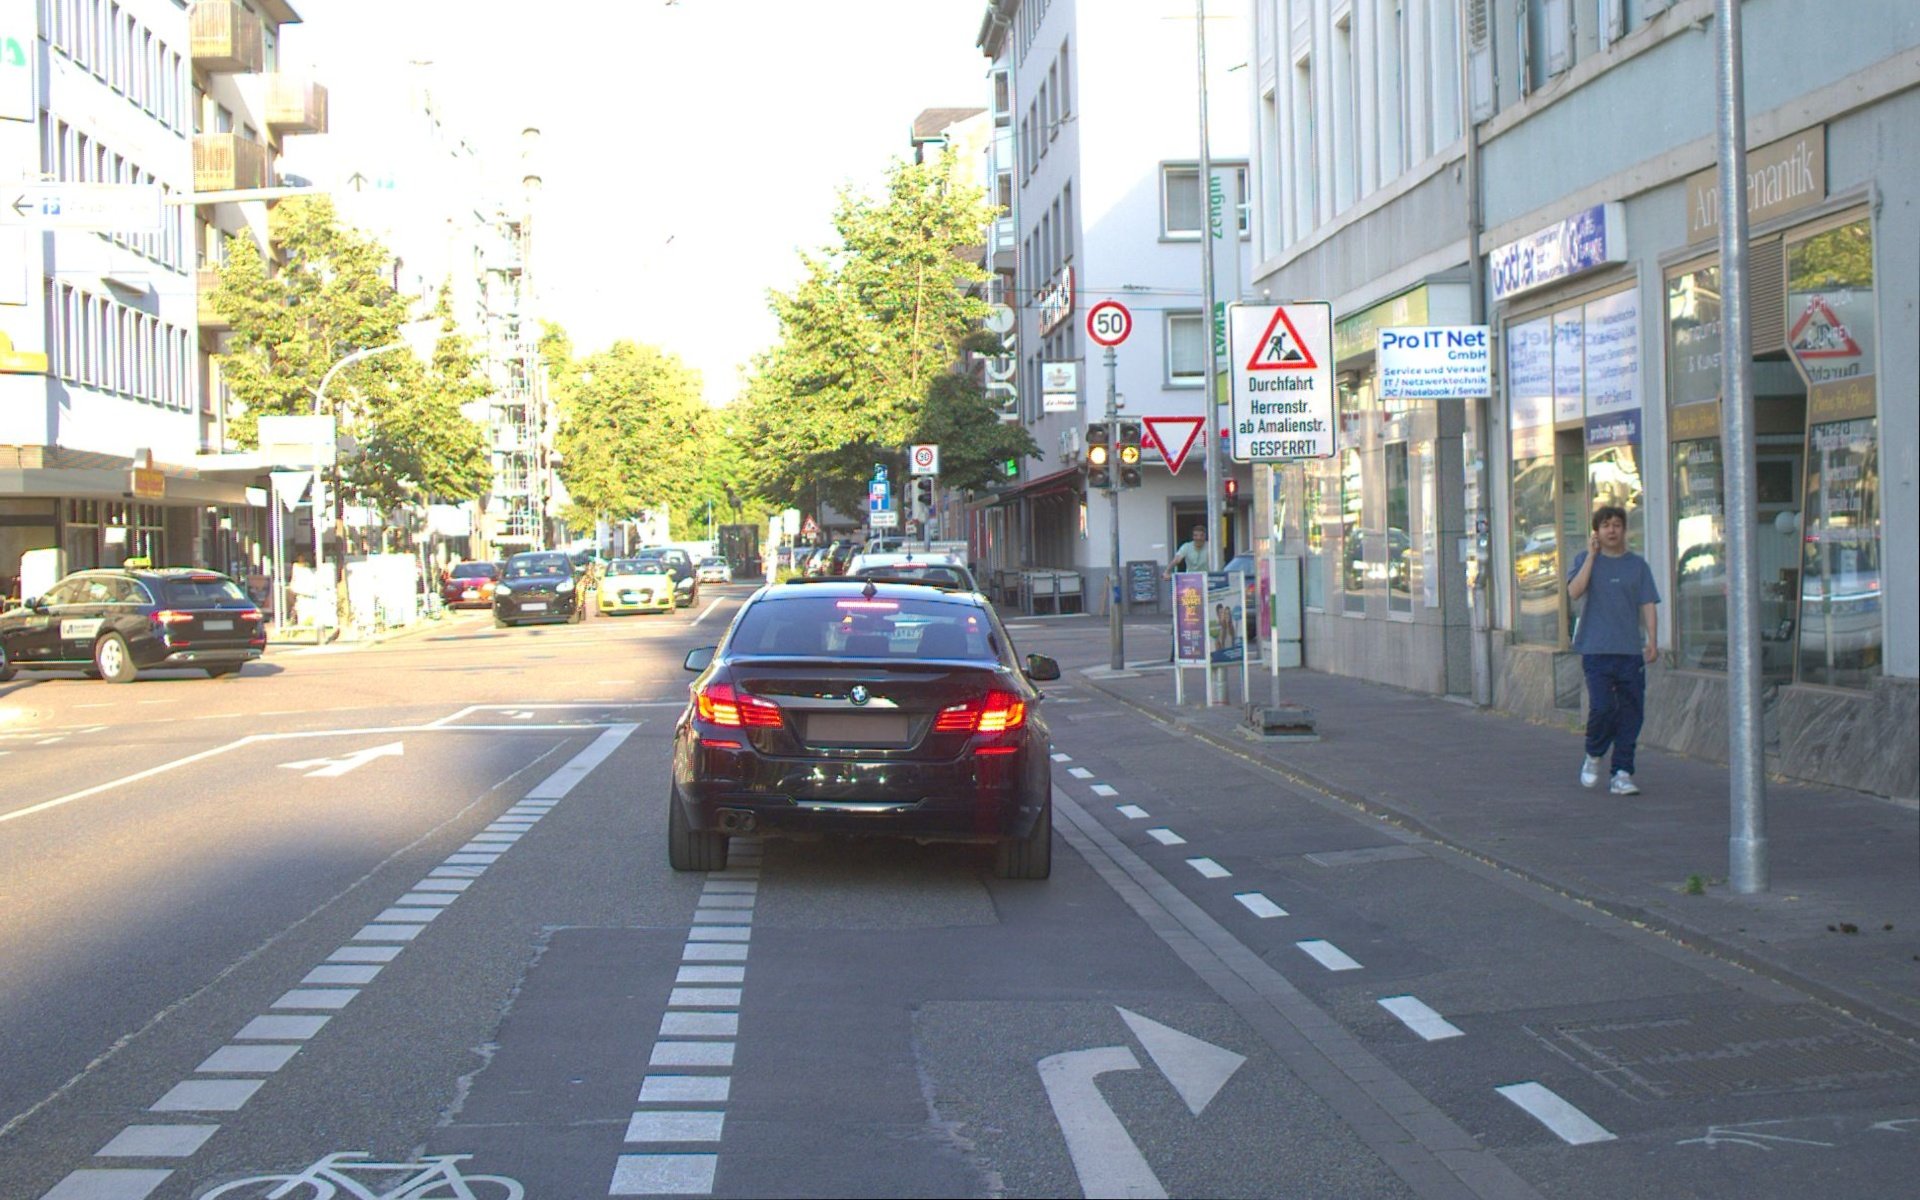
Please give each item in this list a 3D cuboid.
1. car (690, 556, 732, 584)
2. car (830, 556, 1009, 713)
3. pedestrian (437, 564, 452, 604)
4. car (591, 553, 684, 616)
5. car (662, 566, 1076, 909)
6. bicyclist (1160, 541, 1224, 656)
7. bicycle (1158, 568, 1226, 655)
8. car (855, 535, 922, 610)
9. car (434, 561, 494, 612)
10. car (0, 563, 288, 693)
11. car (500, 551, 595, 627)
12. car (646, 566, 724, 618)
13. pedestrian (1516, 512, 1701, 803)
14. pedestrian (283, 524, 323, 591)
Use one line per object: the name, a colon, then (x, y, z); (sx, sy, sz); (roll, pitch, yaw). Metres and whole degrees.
car: (-12.015, -1.467, 165.657); (1.733, 1.288, 4.001); (-2, 1, -8)
car: (-0.461, 0.336, 37.786); (1.832, 1.570, 4.101); (-1, 1, -1)
pedestrian: (-18.277, -0.573, 121.887); (0.444, 1.411, 0.525); (-2, 1, -5)
car: (-7.804, -0.397, 82.948); (1.993, 1.437, 4.001); (-2, 1, -8)
car: (-0.563, 0.621, 18.179); (1.903, 1.535, 4.450); (1, 1, -4)
bicyclist: (3.069, -0.025, 45.532); (0.722, 1.502, 0.900); (-1, 1, -1)
bicycle: (3.068, 0.139, 45.618); (0.690, 1.103, 1.896); (-1, 1, -2)
car: (-1.809, -0.696, 86.348); (1.421, 1.848, 3.053); (0, 0, -6)
car: (-15.020, -0.431, 104.147); (1.733, 1.456, 4.001); (-2, 1, -8)
car: (-11.017, 0.350, 45.349); (4.445, 1.590, 1.874); (0, 1, 41)
car: (-9.323, -0.272, 77.417); (1.993, 1.612, 4.001); (-2, 1, -8)
car: (-7.196, -0.222, 89.742); (1.733, 1.288, 4.001); (-2, 1, -8)
pedestrian: (3.770, 0.322, 20.055); (0.823, 1.636, 0.871); (-2, 1, -4)
pedestrian: (-16.647, -1.075, 87.119); (0.823, 1.671, 0.871); (-2, 1, -3)
